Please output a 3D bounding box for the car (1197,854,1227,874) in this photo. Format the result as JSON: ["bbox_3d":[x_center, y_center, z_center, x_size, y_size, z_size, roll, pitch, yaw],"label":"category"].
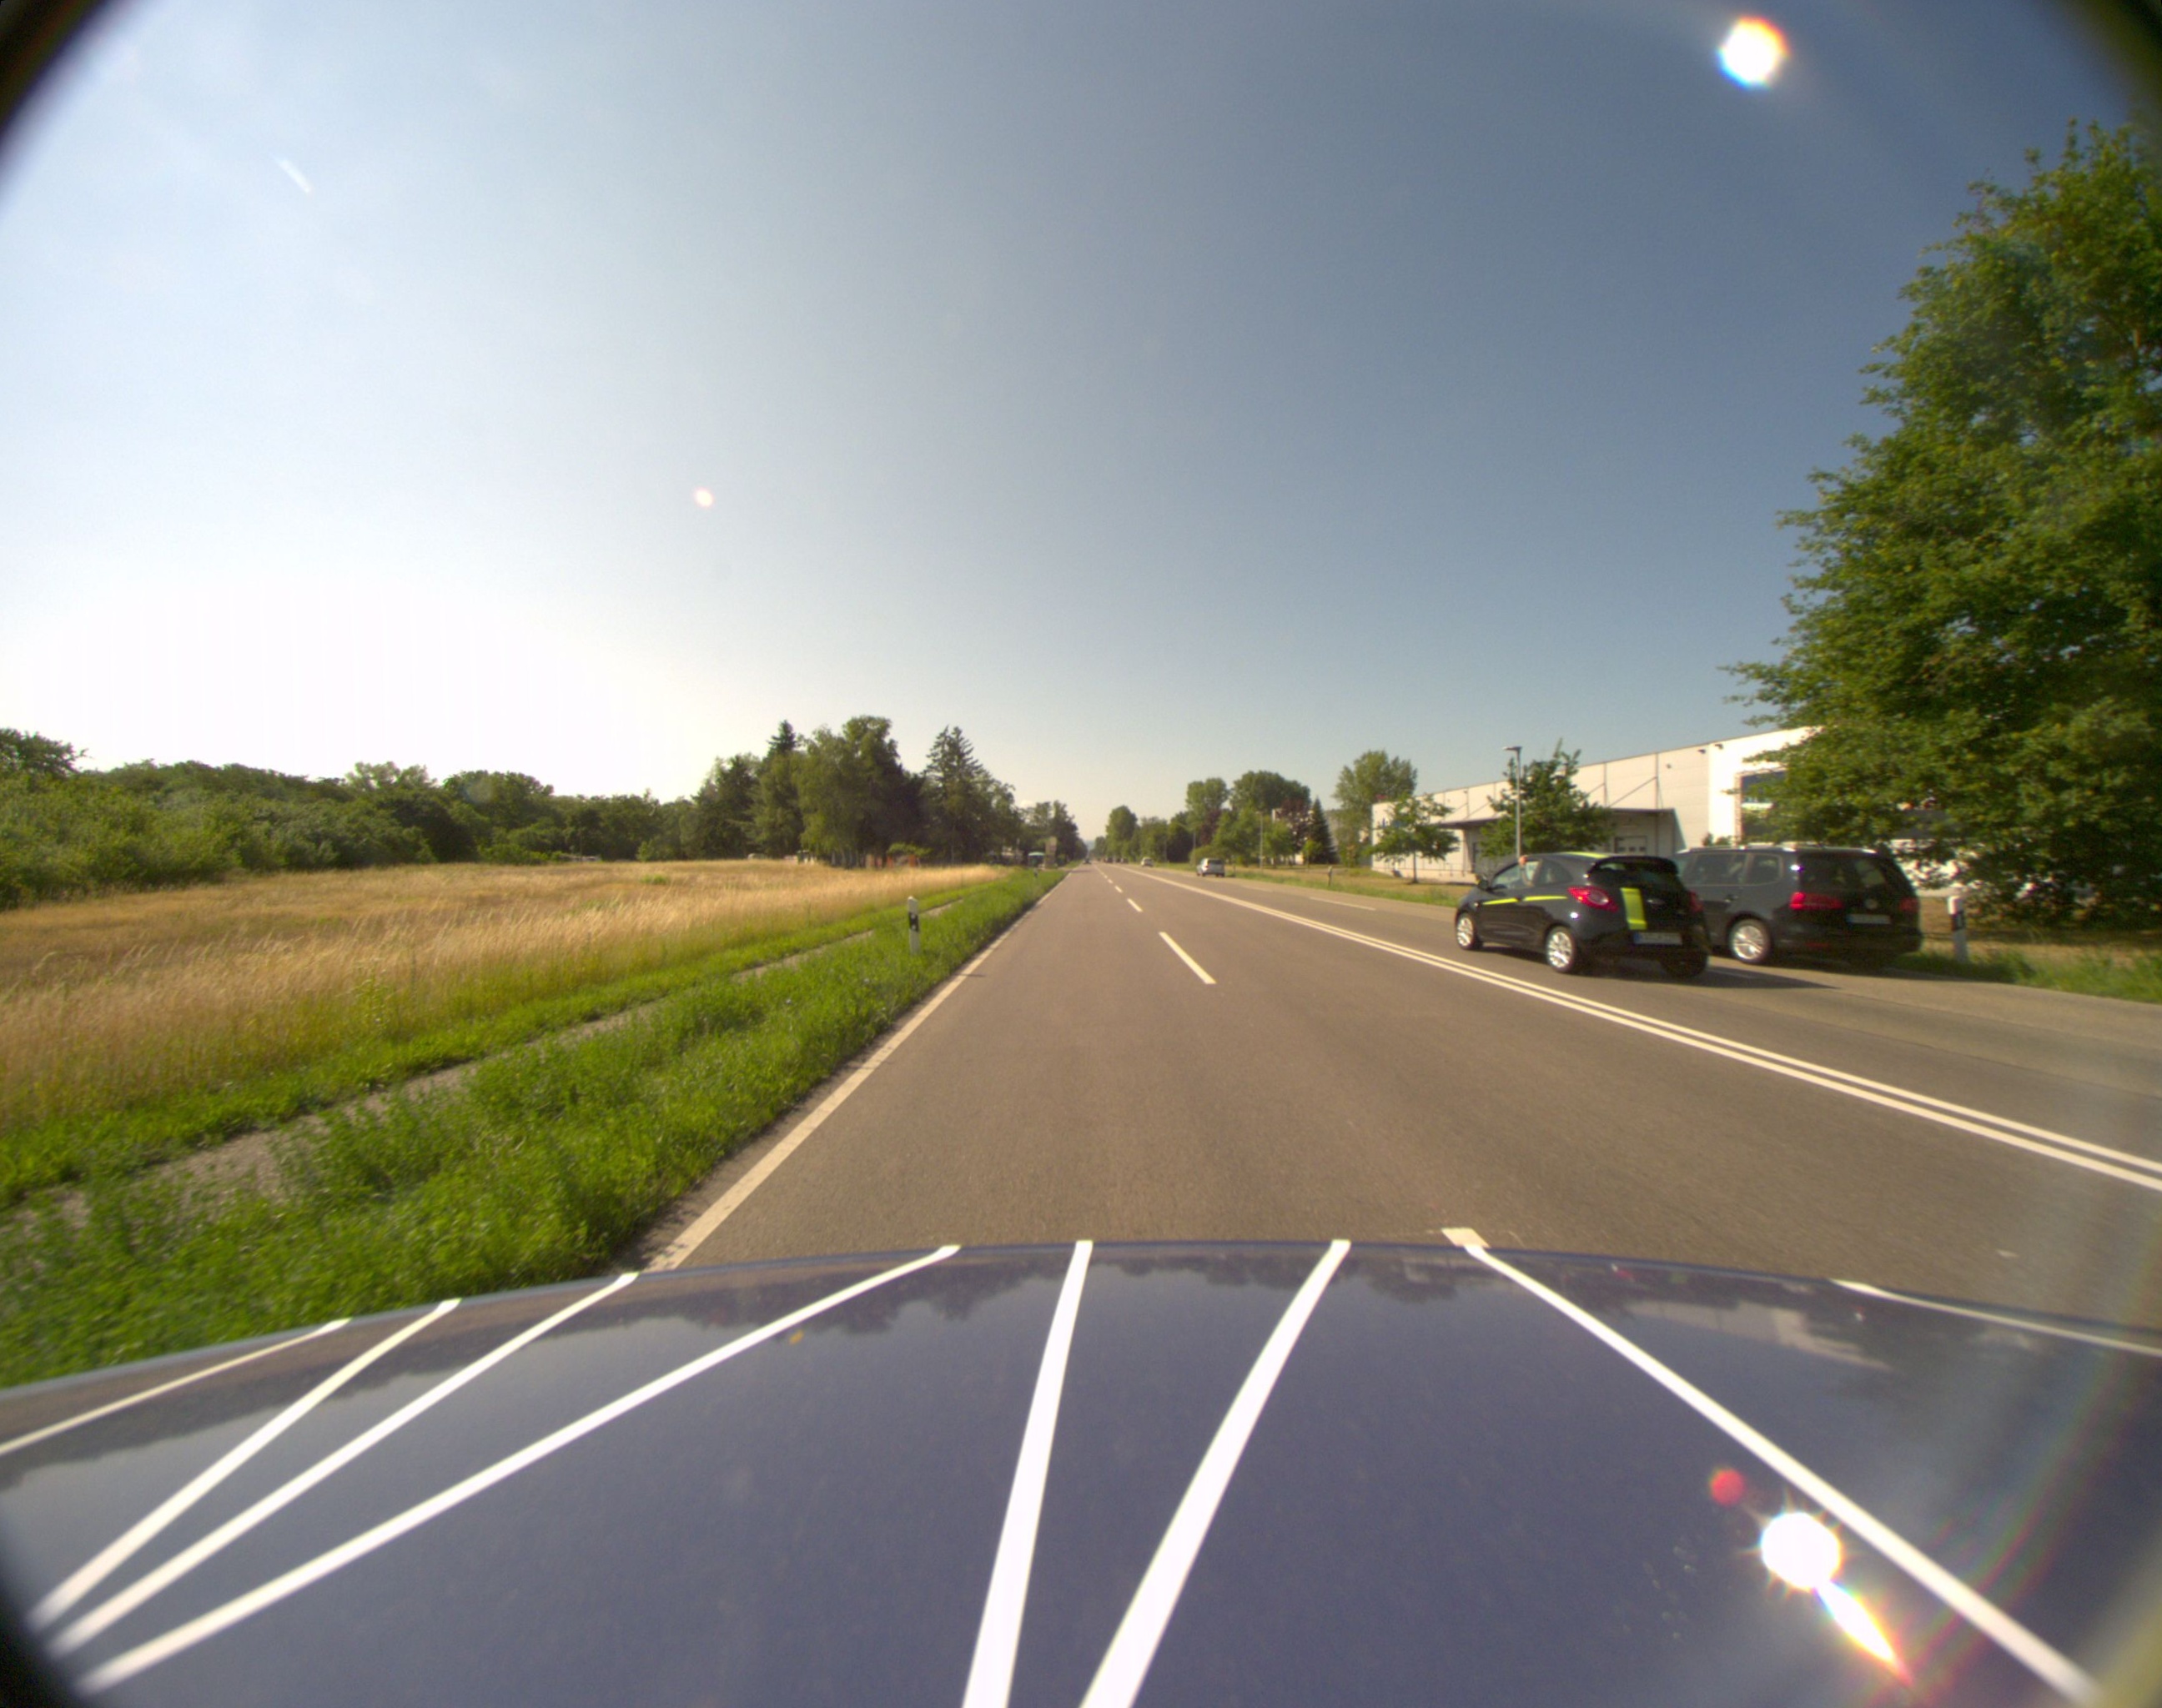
[{"bbox_3d":[10.176,0.767,59.381,1.602,1.434,4.000,2,0,0],"label":"car"}]

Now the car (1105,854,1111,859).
[{"bbox_3d":[9.278,0.791,261.998,1.654,1.489,3.844,2,0,0],"label":"car"}]

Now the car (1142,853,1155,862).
[{"bbox_3d":[10.828,0.548,121.488,1.663,1.429,3.735,2,0,0],"label":"car"}]

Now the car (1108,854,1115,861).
[{"bbox_3d":[7.922,0.841,199.362,1.776,1.704,4.569,2,0,1],"label":"car"}]

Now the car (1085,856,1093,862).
[{"bbox_3d":[1.957,1.264,177.546,1.768,1.403,4.001,0,-1,1],"label":"car"}]

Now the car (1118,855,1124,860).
[{"bbox_3d":[11.873,1.001,227.260,1.656,1.472,4.740,1,0,0],"label":"car"}]

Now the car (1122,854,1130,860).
[{"bbox_3d":[11.124,0.683,188.411,1.733,1.551,4.215,2,0,0],"label":"car"}]

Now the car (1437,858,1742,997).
[{"bbox_3d":[6.428,0.808,10.167,1.520,1.442,3.775,2,0,0],"label":"car"}]

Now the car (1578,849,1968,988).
[{"bbox_3d":[9.931,0.785,11.523,1.830,1.662,4.389,2,0,-1],"label":"car"}]
